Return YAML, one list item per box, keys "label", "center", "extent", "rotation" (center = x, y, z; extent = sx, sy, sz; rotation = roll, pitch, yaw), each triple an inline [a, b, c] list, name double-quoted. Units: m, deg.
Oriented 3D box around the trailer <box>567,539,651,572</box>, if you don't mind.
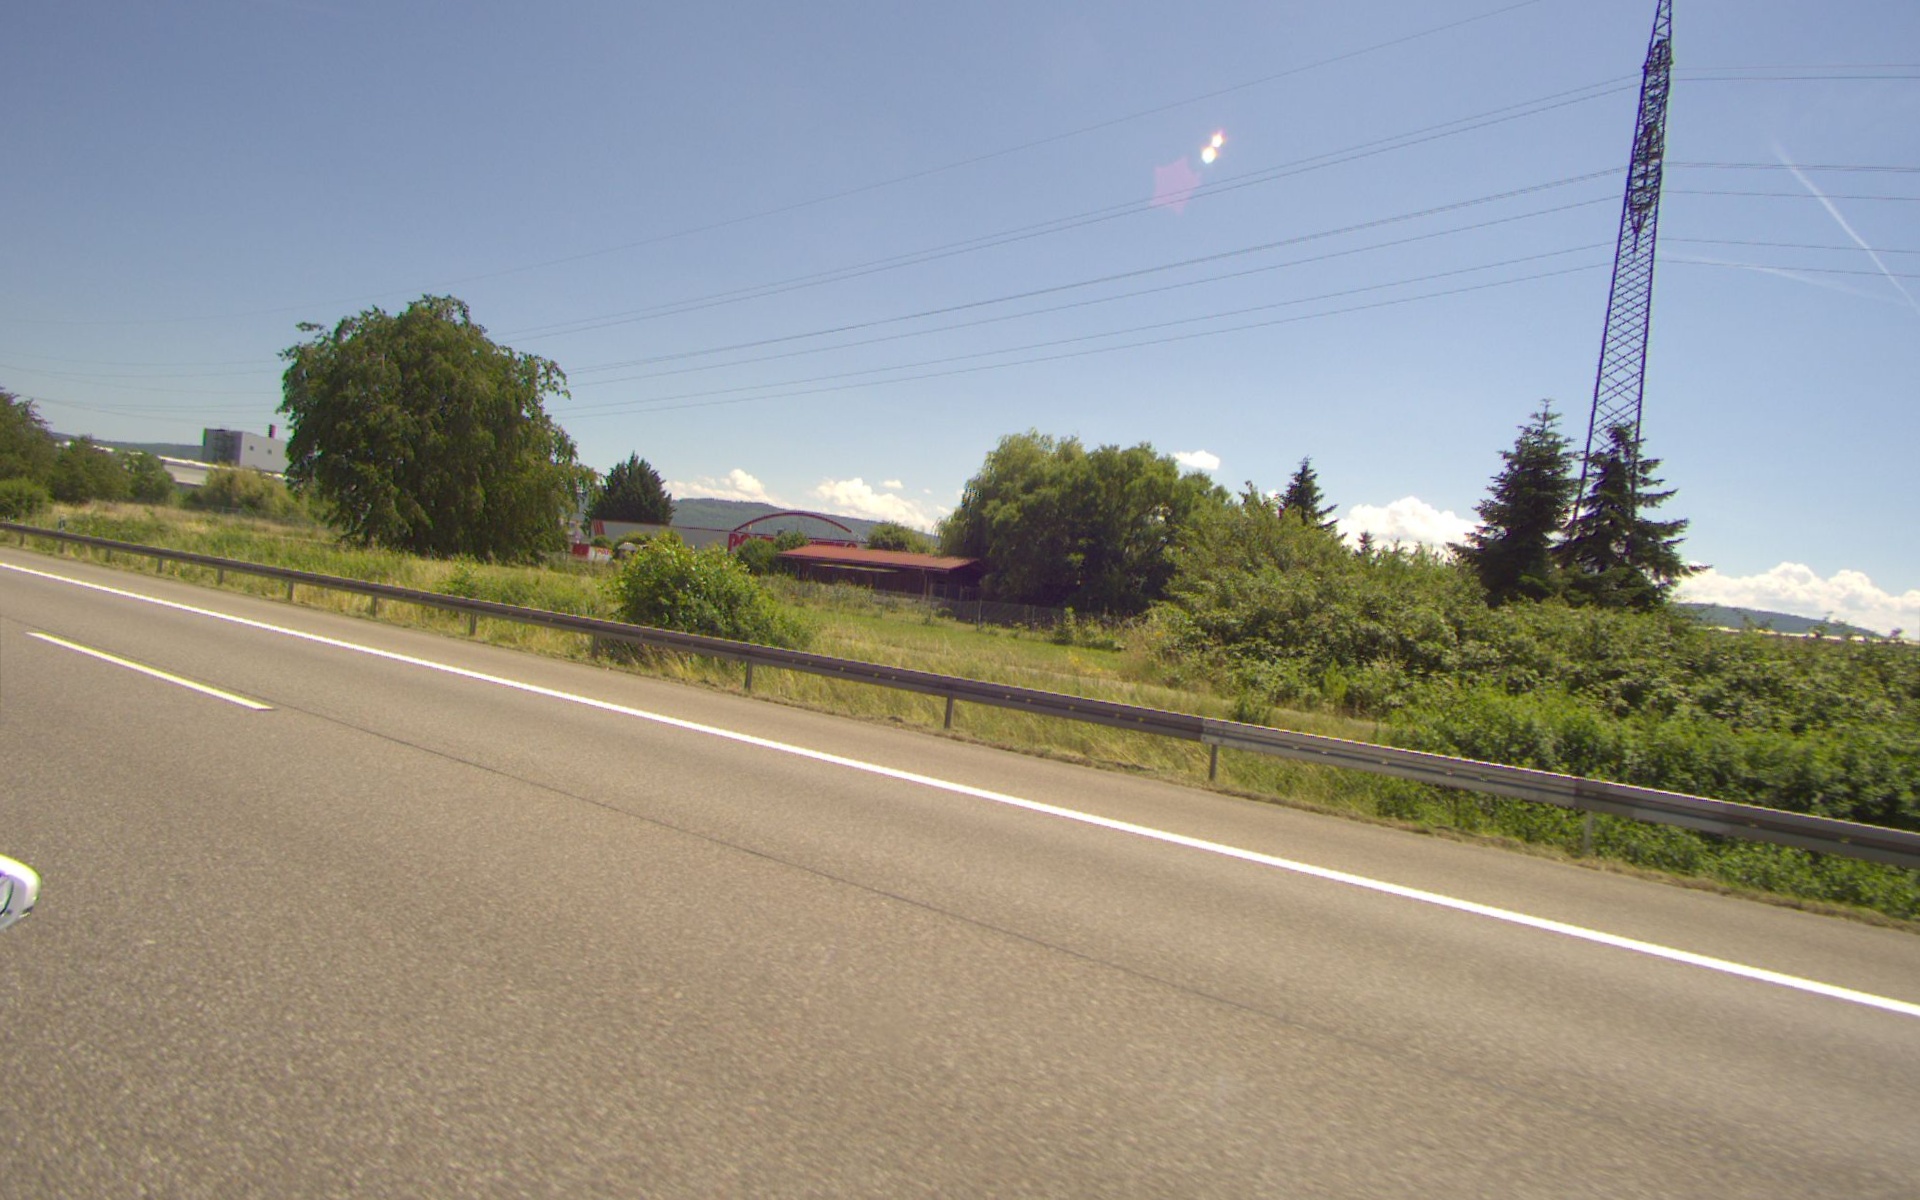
- label: "trailer"
  center: [-36.117, -4.546, 103.720]
  extent: [2.932, 2.412, 7.909]
  rotation: [7, 1, 33]
